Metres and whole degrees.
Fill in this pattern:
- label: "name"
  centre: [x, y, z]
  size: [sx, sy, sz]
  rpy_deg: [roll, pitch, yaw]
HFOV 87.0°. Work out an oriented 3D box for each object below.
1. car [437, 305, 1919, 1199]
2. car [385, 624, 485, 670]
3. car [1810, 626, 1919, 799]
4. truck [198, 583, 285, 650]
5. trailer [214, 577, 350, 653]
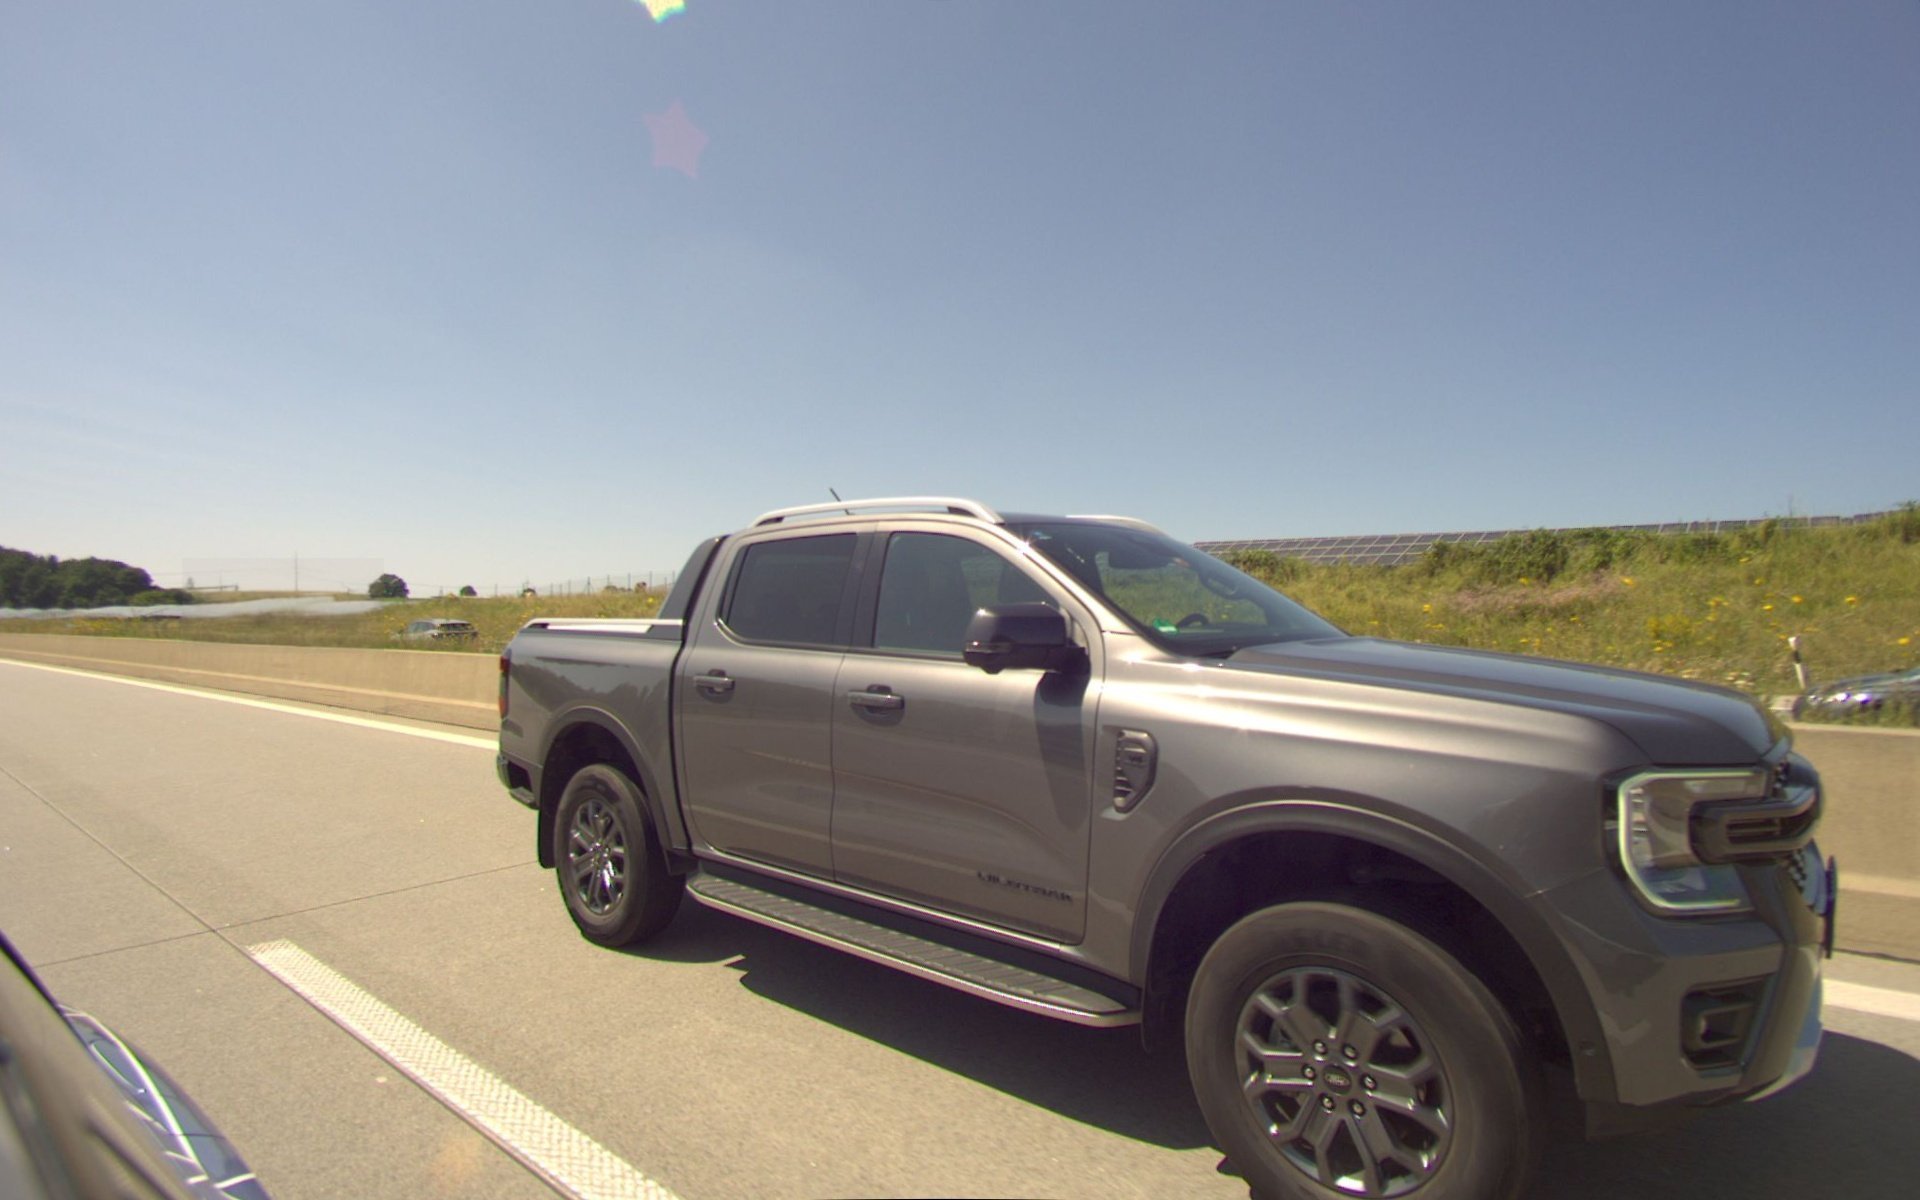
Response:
- label: "car"
  centre: [0.376, 0.509, 3.828]
  size: [6.527, 1.860, 1.972]
  rpy_deg: [-1, 0, 42]
- label: "car"
  centre: [-19.626, 1.696, 37.737]
  size: [4.641, 1.597, 1.708]
  rpy_deg: [-1, -1, 41]
- label: "car"
  centre: [11.617, 1.191, 10.687]
  size: [3.998, 1.785, 1.973]
  rpy_deg: [-1, -1, 41]
- label: "truck"
  centre: [-46.443, 1.098, 65.322]
  size: [6.864, 4.091, 2.960]
  rpy_deg: [-2, -2, 40]
- label: "trailer"
  centre: [-40.766, 0.964, 60.502]
  size: [14.166, 4.091, 2.975]
  rpy_deg: [-1, -2, 40]
